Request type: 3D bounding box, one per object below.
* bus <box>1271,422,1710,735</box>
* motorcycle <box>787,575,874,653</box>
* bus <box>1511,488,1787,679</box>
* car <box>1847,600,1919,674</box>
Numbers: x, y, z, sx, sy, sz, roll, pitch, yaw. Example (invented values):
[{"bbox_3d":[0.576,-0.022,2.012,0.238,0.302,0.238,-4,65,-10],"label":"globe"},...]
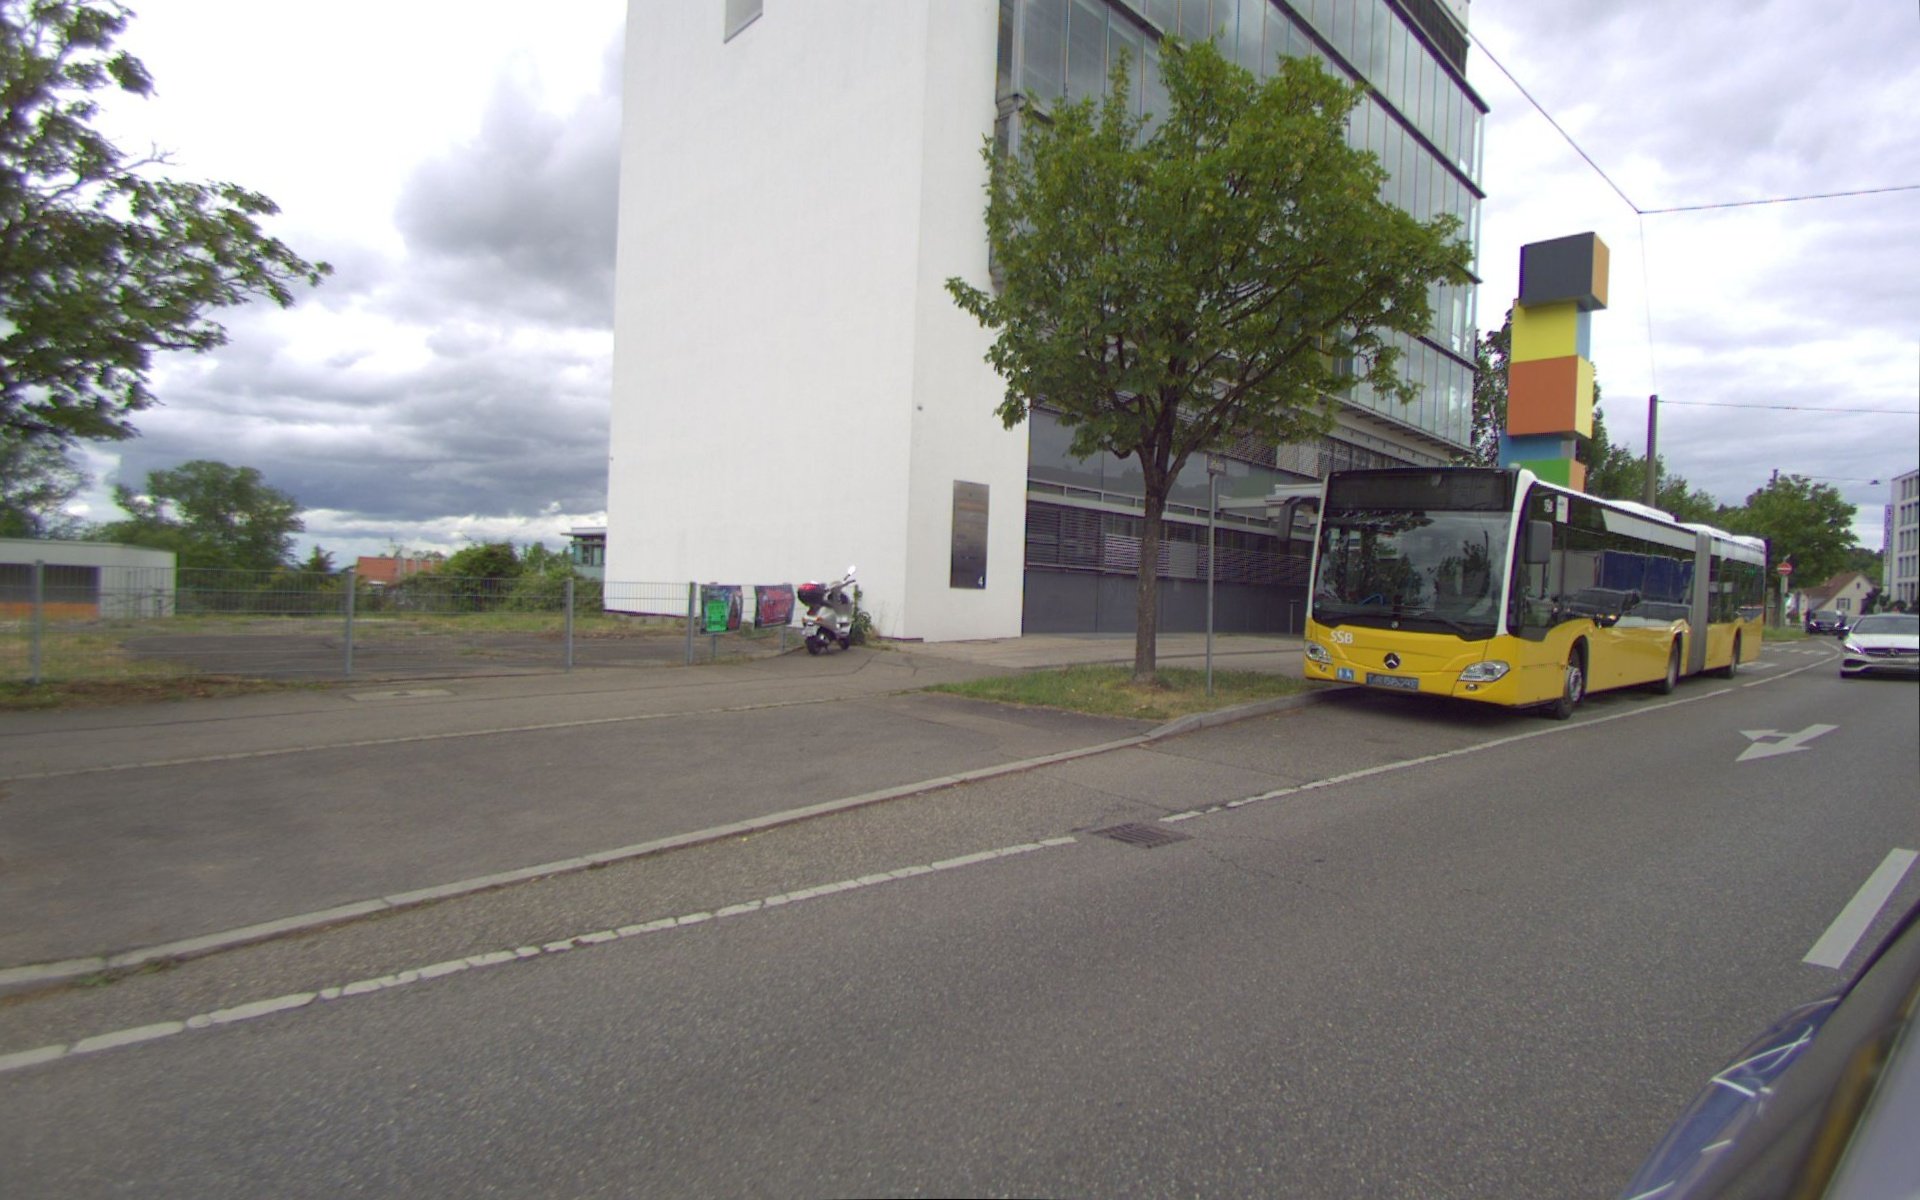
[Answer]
[{"bbox_3d":[8.427,-0.302,15.109,9.705,3.281,2.984,0,2,-45],"label":"bus"},{"bbox_3d":[-2.006,0.190,15.960,0.812,1.129,1.736,2,1,12],"label":"motorcycle"},{"bbox_3d":[15.023,-0.345,21.654,9.184,3.275,3.039,0,2,-44],"label":"bus"},{"bbox_3d":[21.490,0.769,22.842,4.695,1.524,1.868,0,-1,-45],"label":"car"}]
